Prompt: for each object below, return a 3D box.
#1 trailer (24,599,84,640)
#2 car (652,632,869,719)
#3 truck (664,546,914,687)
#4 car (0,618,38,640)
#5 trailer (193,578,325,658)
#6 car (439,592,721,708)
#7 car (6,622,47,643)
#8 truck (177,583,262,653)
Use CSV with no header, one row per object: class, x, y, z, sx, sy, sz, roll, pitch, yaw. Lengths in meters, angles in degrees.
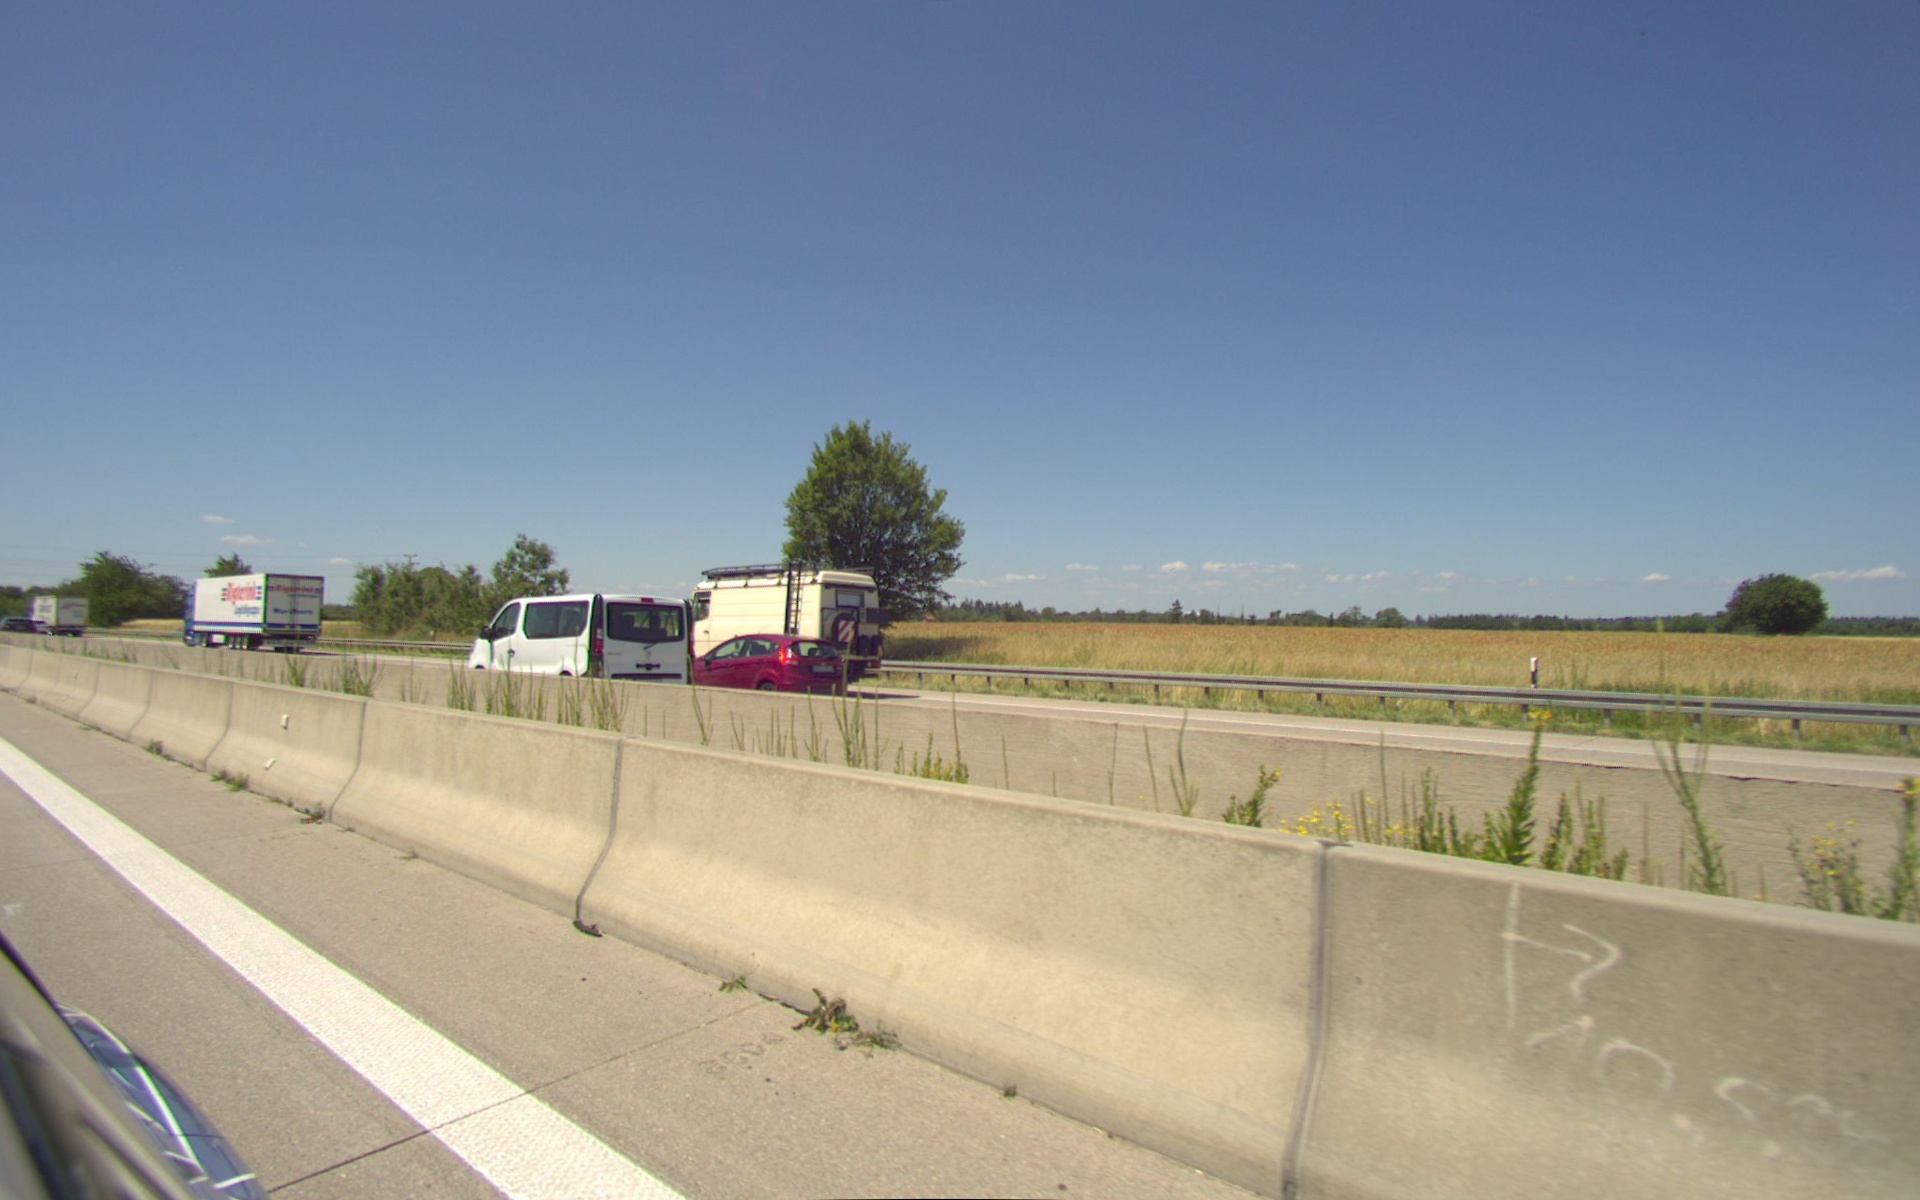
trailer,-91.540,1.985,102.128,13.821,3.831,2.741,-1,0,41
car,-3.909,1.372,19.375,4.485,1.471,1.670,-1,-3,41
truck,-4.484,0.407,25.546,6.974,3.107,2.298,-1,0,41
car,-61.504,1.880,65.673,5.066,1.336,1.879,-1,0,41
trailer,-38.220,0.957,54.894,12.503,3.938,2.878,-1,0,41
car,-6.688,0.777,17.427,5.642,1.692,2.116,-1,-2,41
car,-79.940,2.824,86.654,4.367,1.596,1.973,-2,-7,41
truck,-43.784,1.047,59.772,5.681,3.893,2.867,-1,0,41
